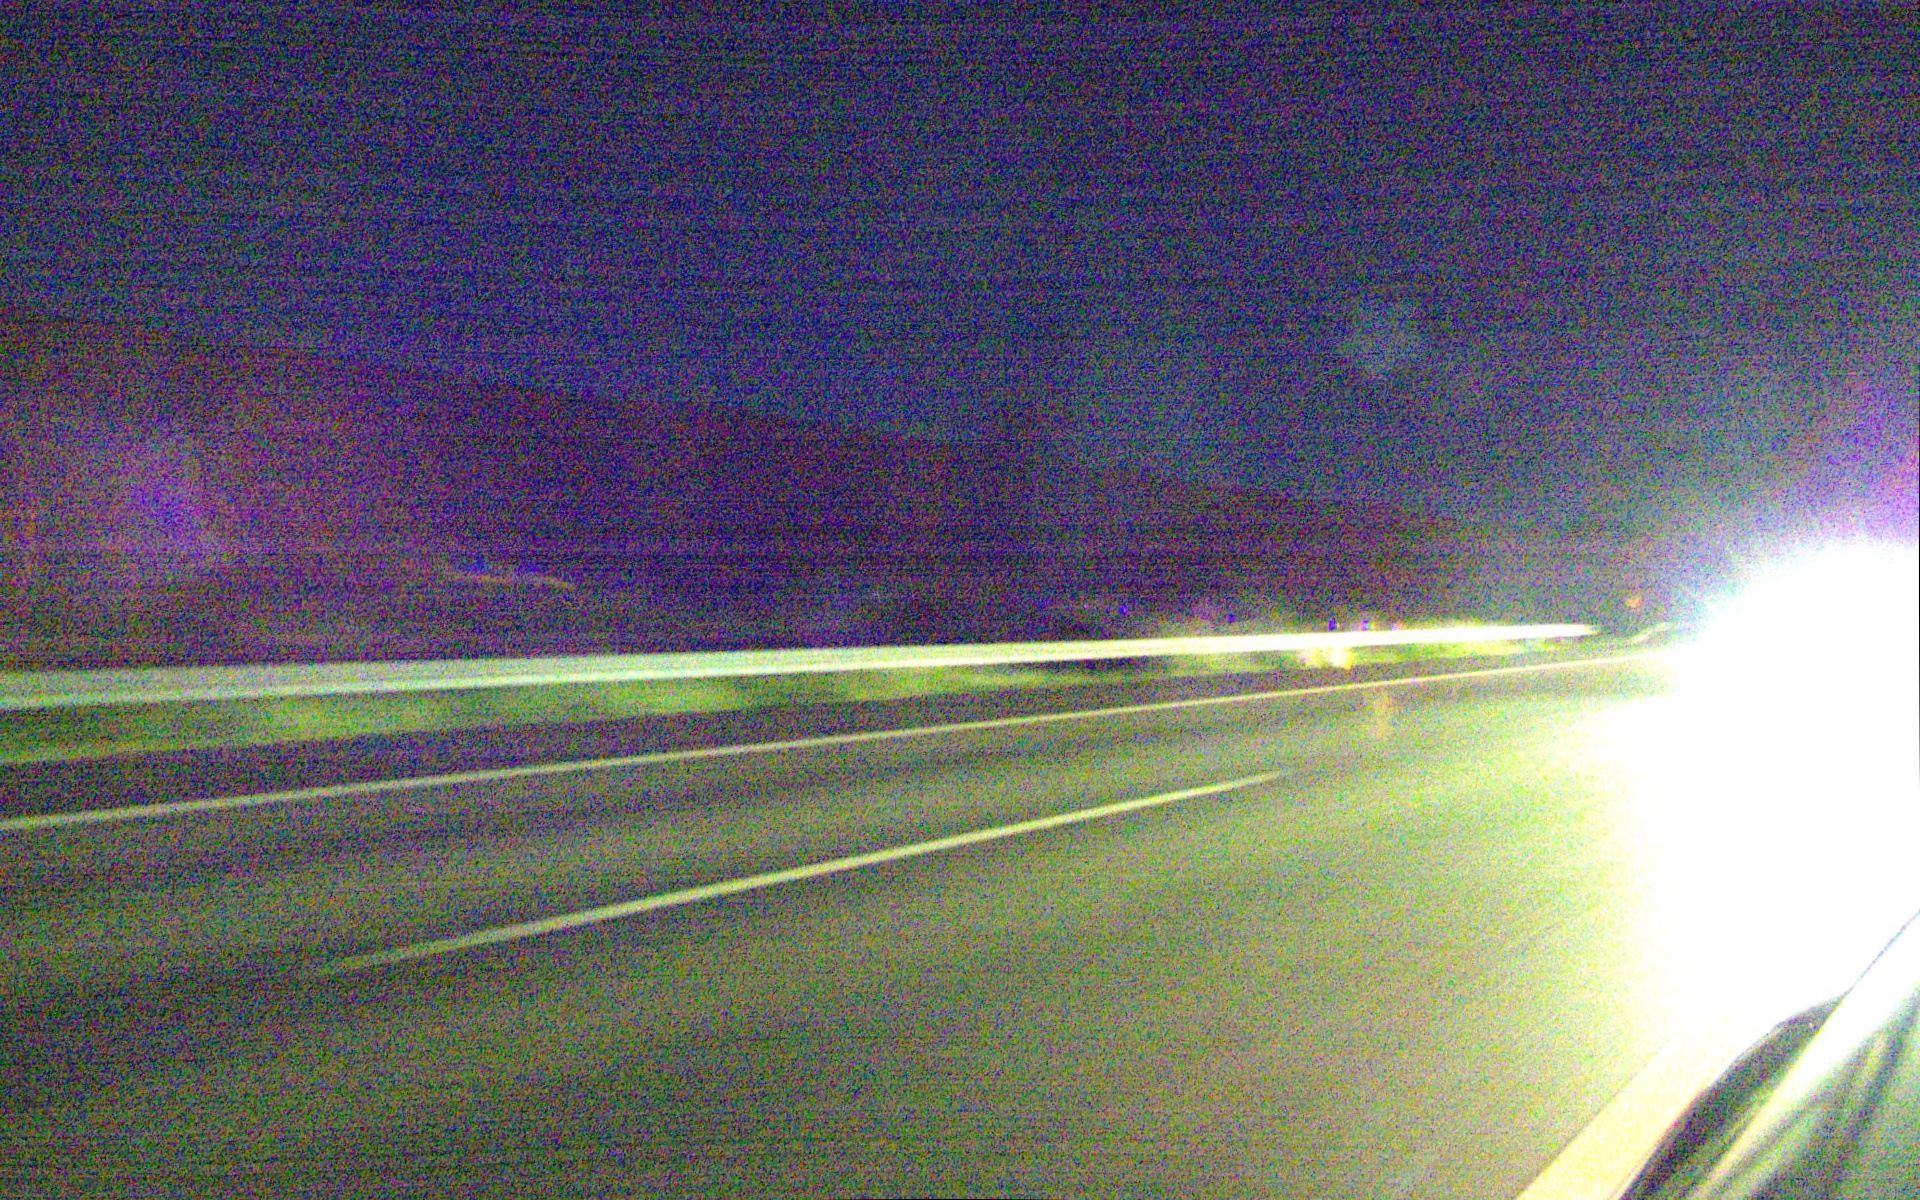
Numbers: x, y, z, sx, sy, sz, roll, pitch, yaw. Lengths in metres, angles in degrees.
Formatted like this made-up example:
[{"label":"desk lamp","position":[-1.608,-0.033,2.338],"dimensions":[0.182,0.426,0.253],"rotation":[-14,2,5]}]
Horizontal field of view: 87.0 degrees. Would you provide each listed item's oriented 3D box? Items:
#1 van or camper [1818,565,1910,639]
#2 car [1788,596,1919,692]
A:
[{"label":"van or camper","position":[36.995,0.075,41.335],"dimensions":[6.690,2.807,2.209],"rotation":[0,-1,-44]},{"label":"car","position":[15.381,0.693,16.934],"dimensions":[4.151,1.431,1.689],"rotation":[2,-1,-41]}]
